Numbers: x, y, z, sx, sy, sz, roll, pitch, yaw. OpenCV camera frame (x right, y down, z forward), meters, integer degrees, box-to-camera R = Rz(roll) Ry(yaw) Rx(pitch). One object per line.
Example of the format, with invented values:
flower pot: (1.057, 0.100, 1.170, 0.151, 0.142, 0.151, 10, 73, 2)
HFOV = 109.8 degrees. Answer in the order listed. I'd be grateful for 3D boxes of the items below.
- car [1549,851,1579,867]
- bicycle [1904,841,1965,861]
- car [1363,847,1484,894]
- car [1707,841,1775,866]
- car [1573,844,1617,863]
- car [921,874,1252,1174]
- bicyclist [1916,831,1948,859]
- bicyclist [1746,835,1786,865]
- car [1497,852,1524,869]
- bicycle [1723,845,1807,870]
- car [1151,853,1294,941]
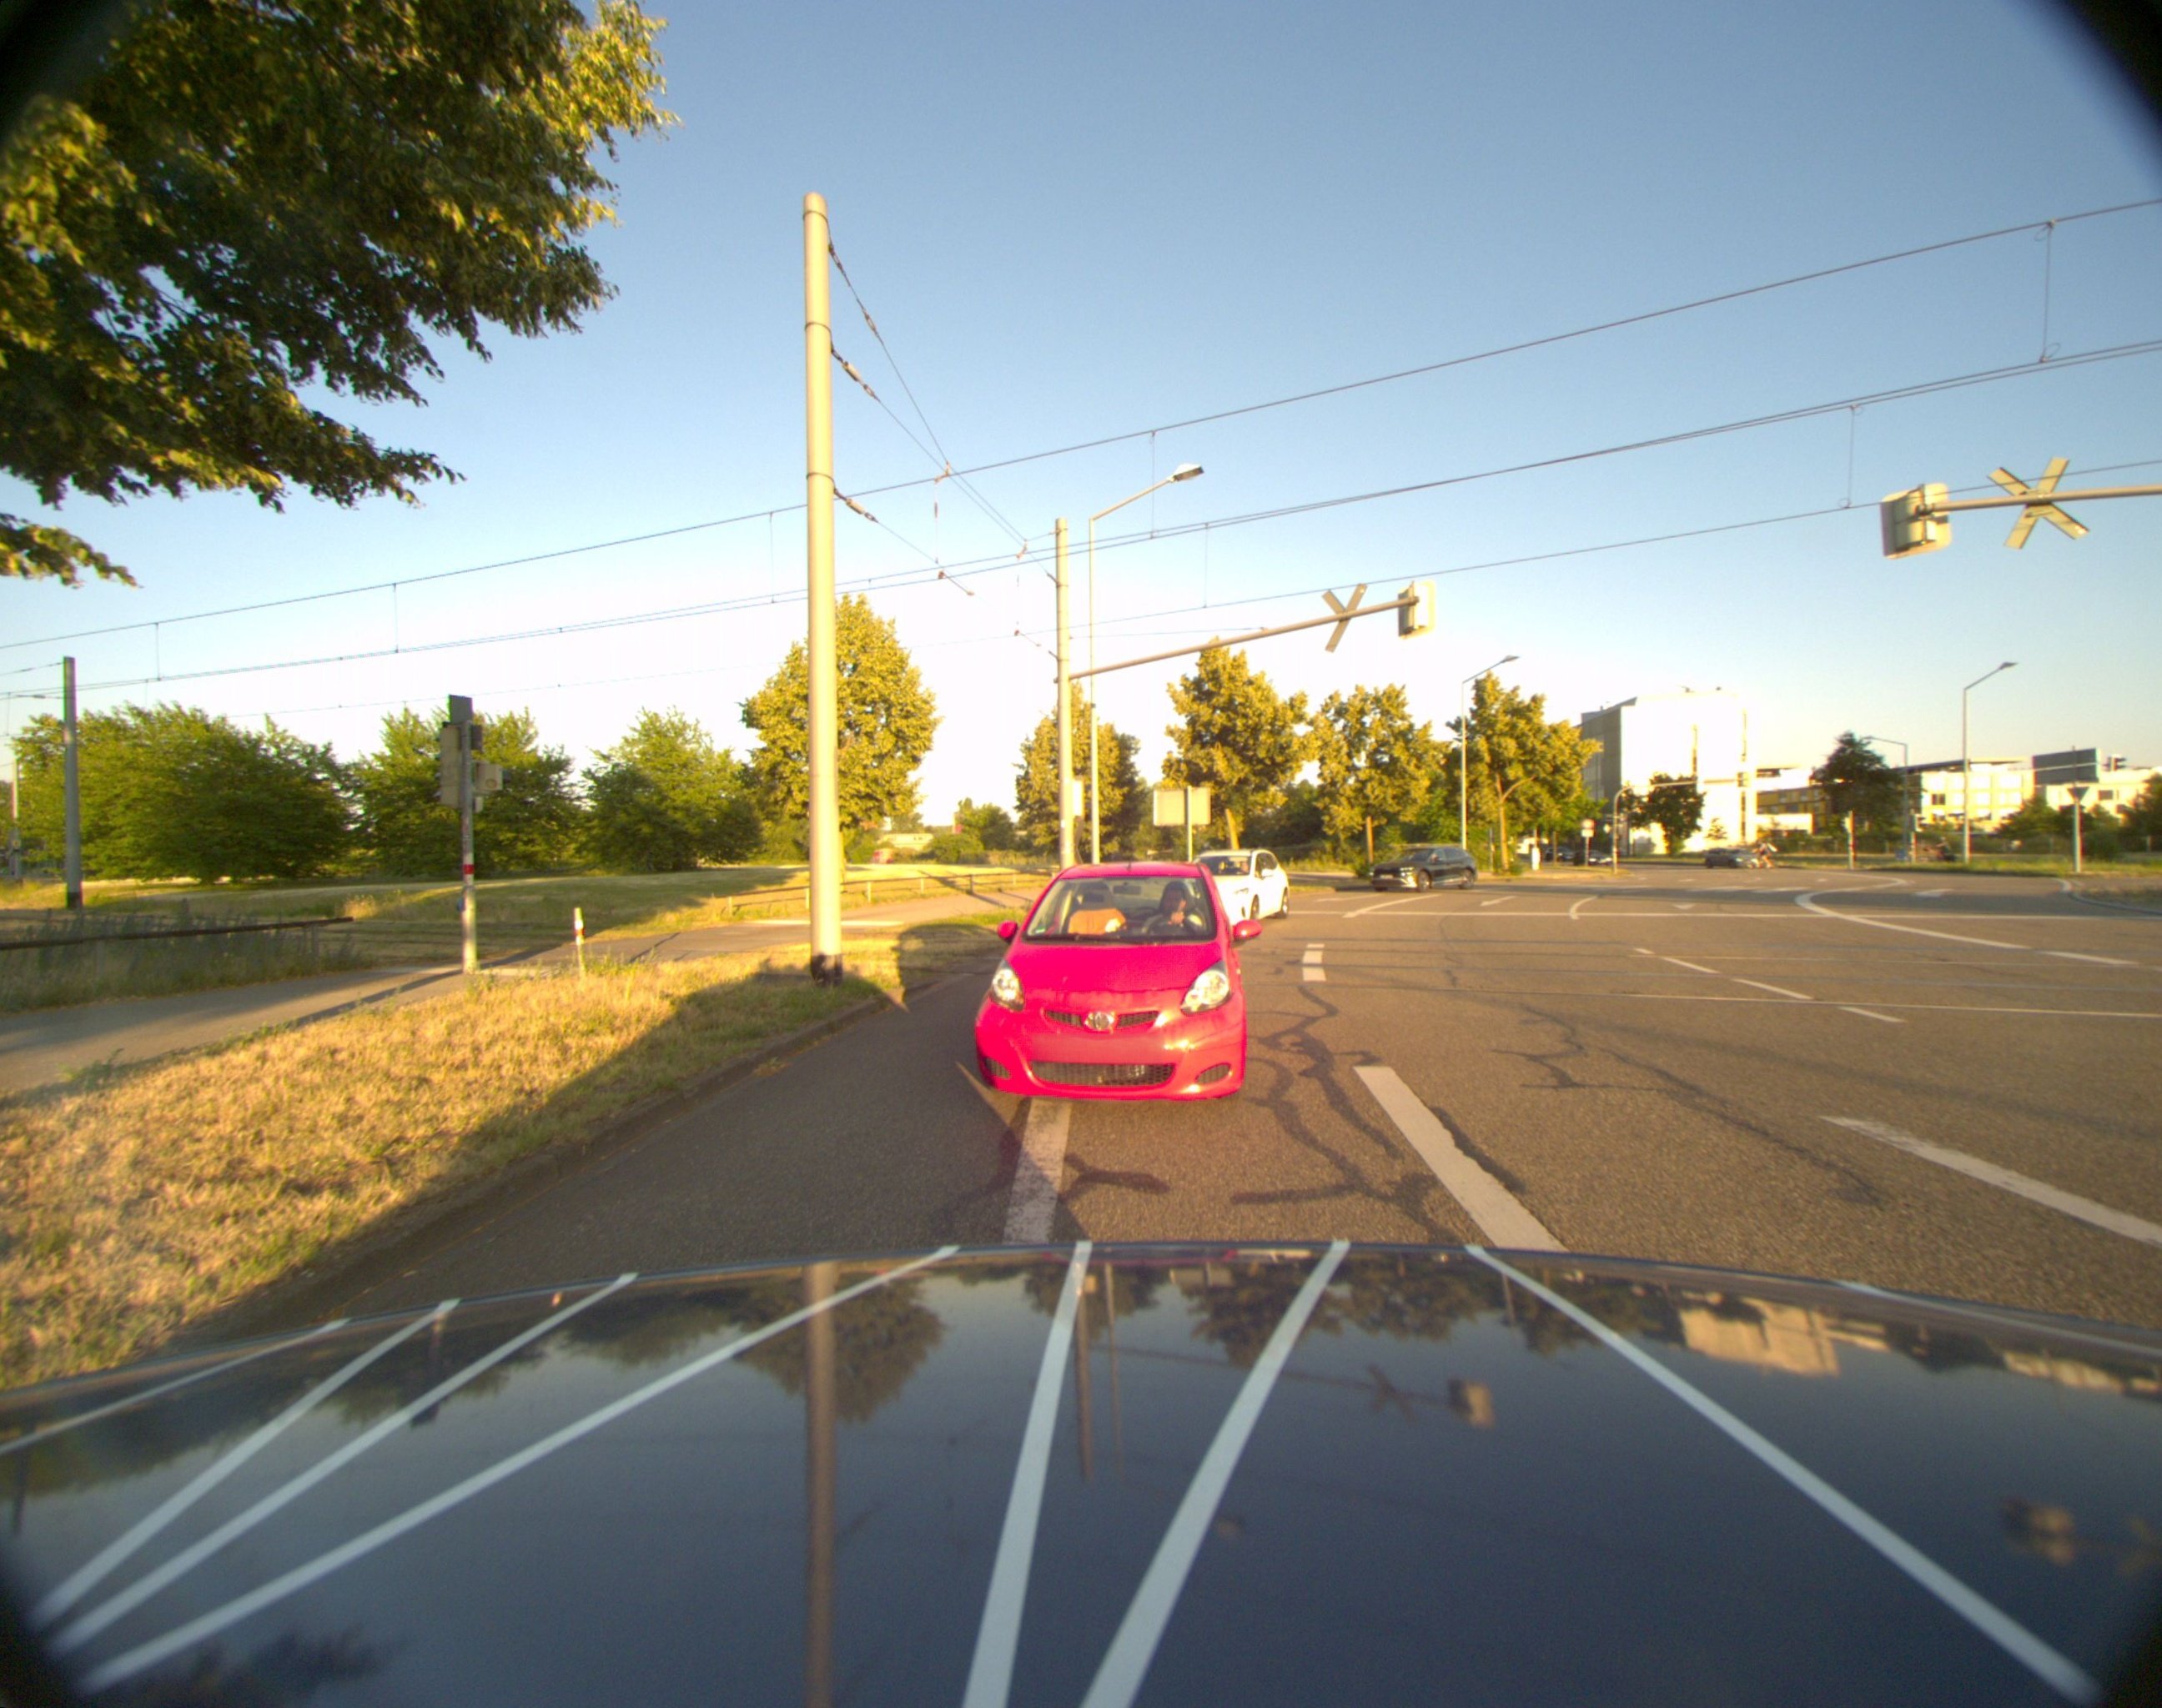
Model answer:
car: (52.785, 0.540, 83.084, 1.869, 1.616, 4.198, -1, 1, 19)
bicycle: (51.039, -0.168, 45.451, 2.324, 1.172, 0.811, -1, 1, 16)
car: (12.309, 0.544, 27.247, 4.221, 1.549, 1.824, -1, 0, -29)
car: (45.180, -0.040, 52.128, 1.869, 1.616, 4.197, -1, 1, 15)
car: (45.891, -0.076, 67.928, 1.870, 1.616, 4.196, -1, 1, 12)
car: (0.381, 0.905, 5.953, 1.692, 1.413, 4.215, -1, -1, 11)
bicyclist: (50.922, -0.549, 45.465, 0.999, 1.623, 0.811, -1, 1, 16)
bicyclist: (40.323, -0.238, 44.776, 1.414, 1.739, 1.125, -1, 1, 18)
car: (46.797, 0.645, 82.795, 1.869, 1.740, 3.857, -1, 1, 19)
bicycle: (40.292, 0.192, 44.809, 3.531, 1.387, 1.125, -1, 1, 18)
car: (3.083, 0.777, 15.825, 1.755, 1.549, 4.222, 0, 0, 28)
